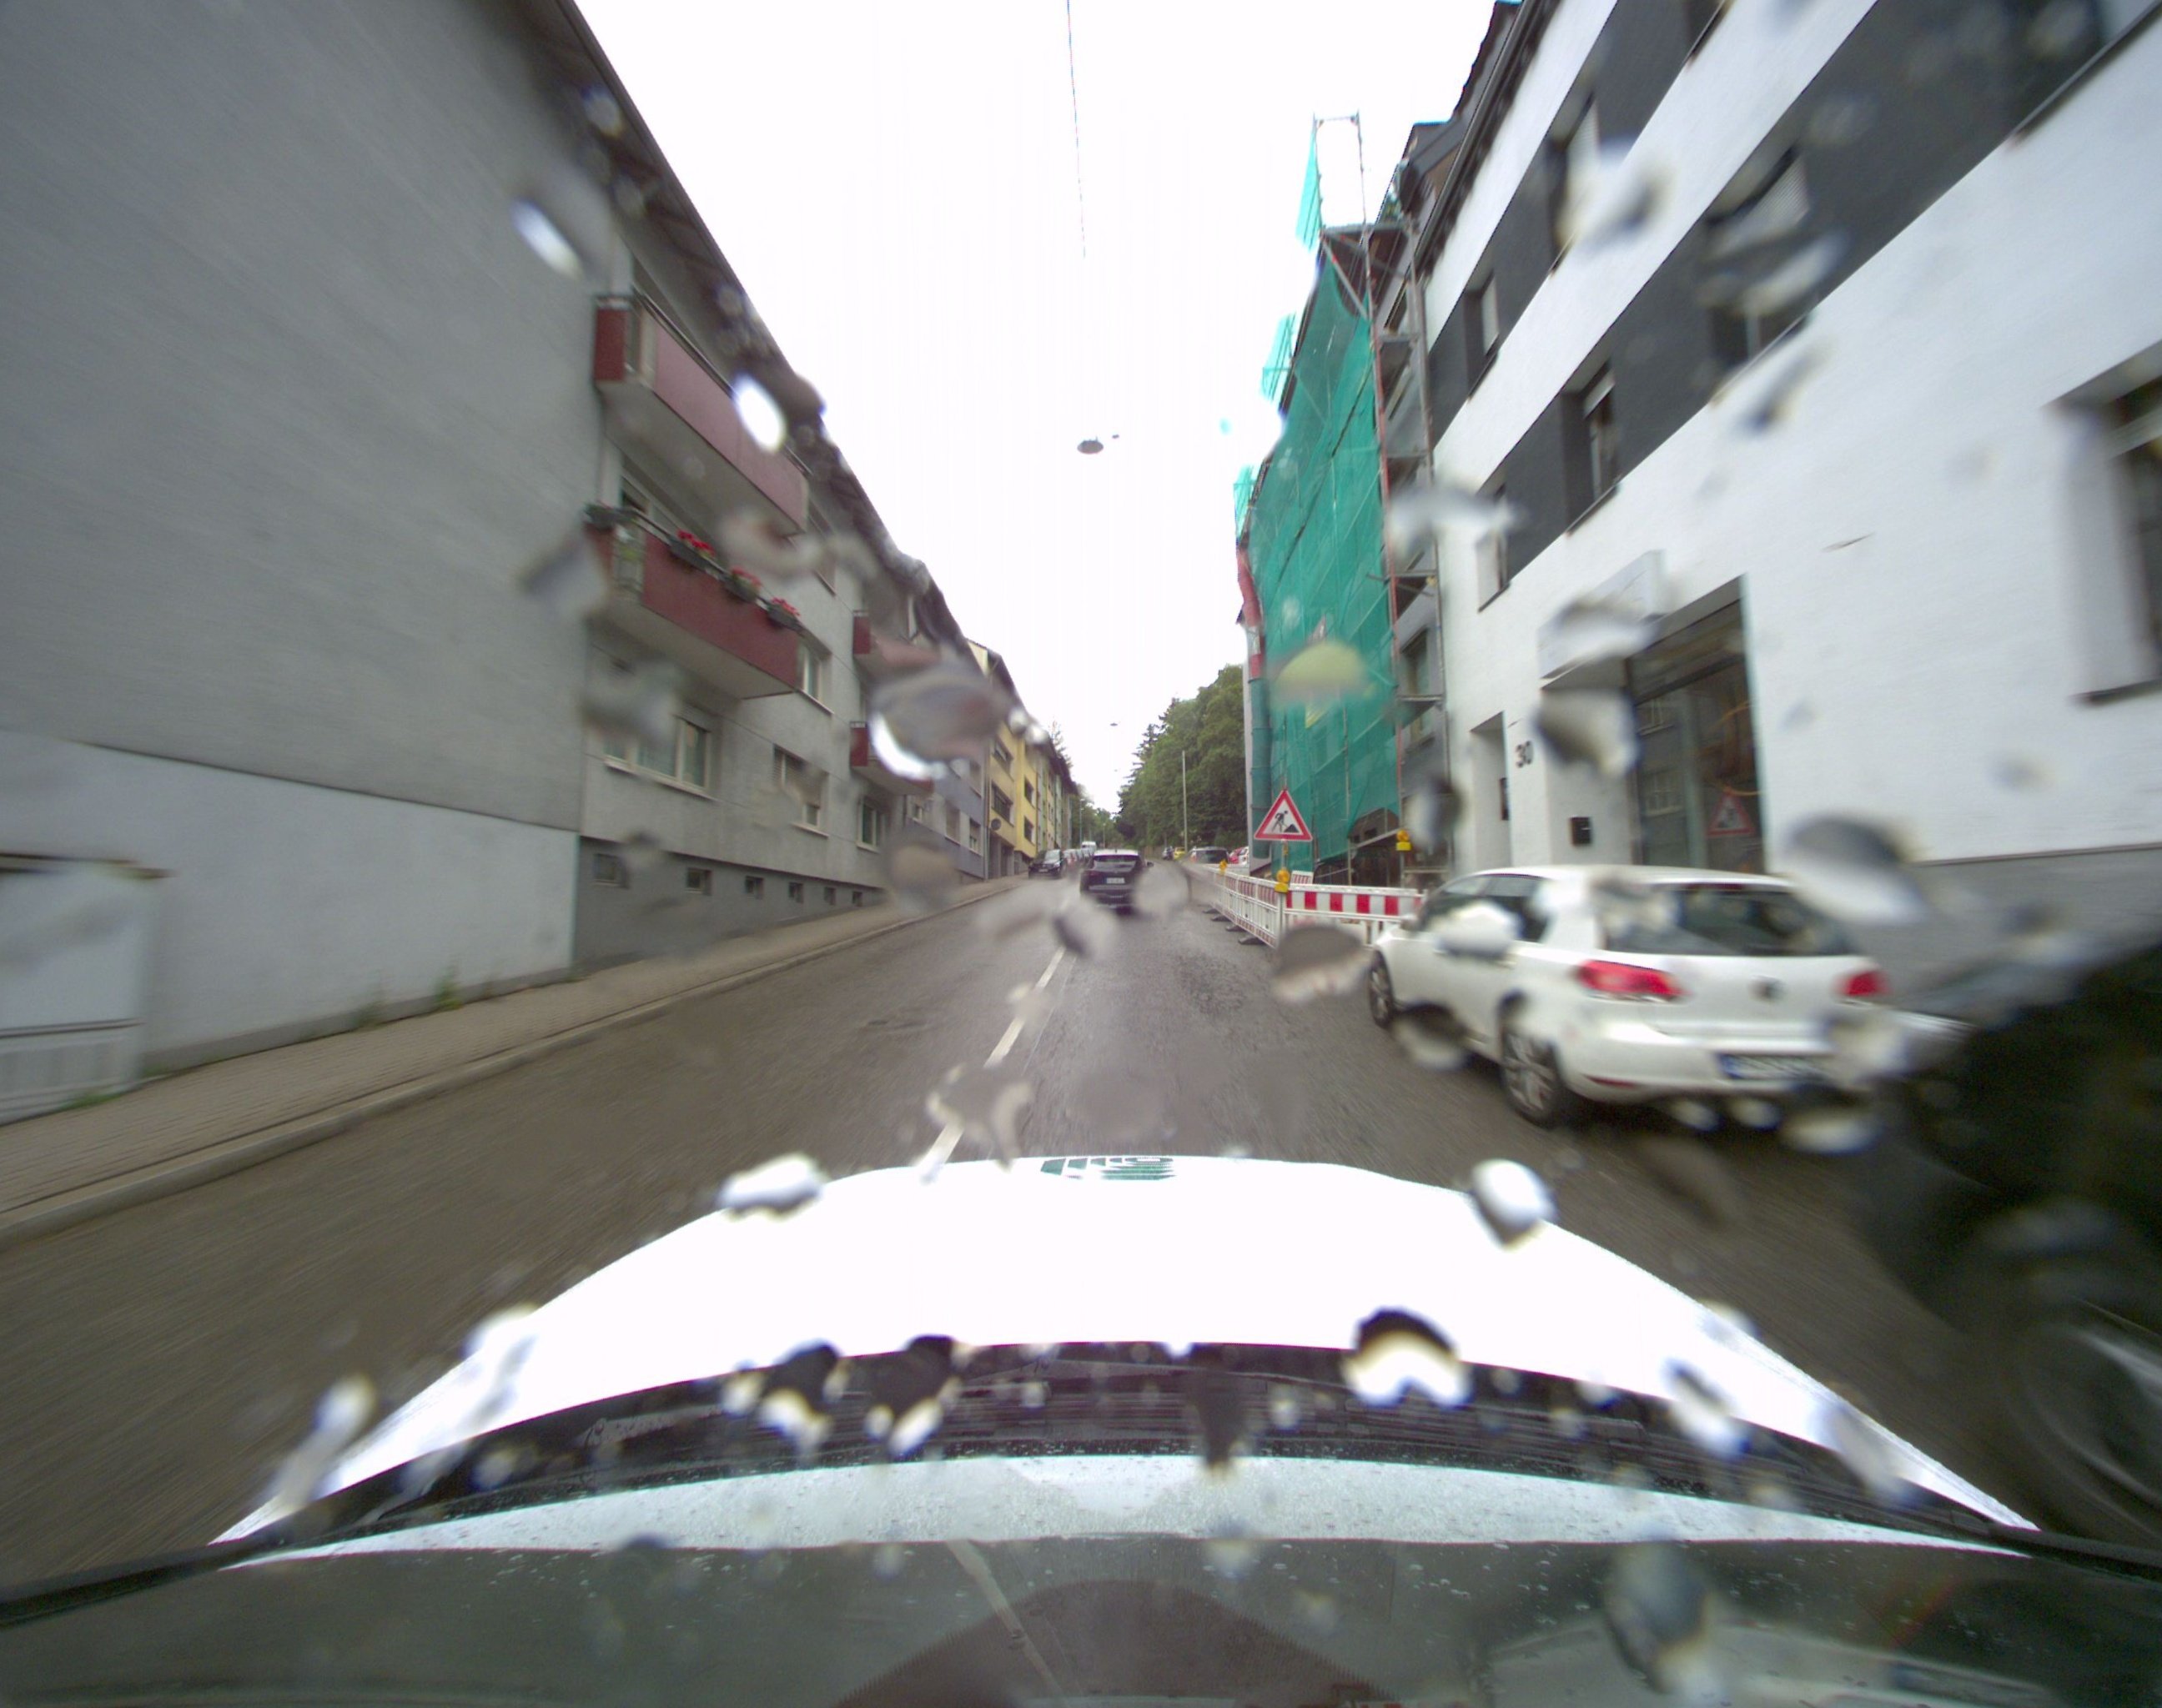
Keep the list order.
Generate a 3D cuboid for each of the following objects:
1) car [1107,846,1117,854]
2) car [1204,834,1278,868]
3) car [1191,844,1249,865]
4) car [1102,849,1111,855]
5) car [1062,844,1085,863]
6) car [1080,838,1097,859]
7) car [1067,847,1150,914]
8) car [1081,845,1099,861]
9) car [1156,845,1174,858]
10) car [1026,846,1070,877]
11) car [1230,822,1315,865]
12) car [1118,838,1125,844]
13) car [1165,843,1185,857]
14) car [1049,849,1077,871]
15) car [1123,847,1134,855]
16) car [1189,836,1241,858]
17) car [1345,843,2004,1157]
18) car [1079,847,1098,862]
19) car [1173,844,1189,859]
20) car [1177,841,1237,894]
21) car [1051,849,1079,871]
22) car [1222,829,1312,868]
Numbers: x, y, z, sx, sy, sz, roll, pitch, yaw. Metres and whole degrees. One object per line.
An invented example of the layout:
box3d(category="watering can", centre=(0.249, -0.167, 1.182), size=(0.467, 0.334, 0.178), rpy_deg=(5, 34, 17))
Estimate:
box3d(category="car", centre=(6.550, -0.899, 171.519), size=(2.067, 1.559, 4.001), rpy_deg=(0, 1, 1))
box3d(category="car", centre=(9.493, -0.178, 48.481), size=(3.951, 1.529, 1.691), rpy_deg=(-6, 0, -2))
box3d(category="car", centre=(10.804, 0.020, 63.313), size=(4.184, 1.496, 1.760), rpy_deg=(2, 0, 0))
box3d(category="car", centre=(6.145, -0.486, 197.621), size=(2.067, 1.559, 4.002), rpy_deg=(0, 1, 1))
box3d(category="car", centre=(-0.606, -0.041, 71.690), size=(1.846, 1.585, 4.307), rpy_deg=(-1, 1, 1))
box3d(category="car", centre=(1.003, -0.721, 102.681), size=(1.983, 2.474, 5.786), rpy_deg=(-1, 1, 2))
box3d(category="car", centre=(0.757, 0.627, 21.683), size=(1.985, 1.559, 4.003), rpy_deg=(1, 1, 2))
box3d(category="car", centre=(1.050, -0.141, 95.079), size=(1.983, 1.755, 4.482), rpy_deg=(-1, 1, 1))
box3d(category="car", centre=(10.791, -0.307, 104.287), size=(1.805, 1.530, 4.417), rpy_deg=(-3, 0, 0))
box3d(category="car", centre=(-1.863, 0.378, 47.466), size=(1.984, 1.650, 4.448), rpy_deg=(-1, 1, 5))
box3d(category="car", centre=(9.710, -0.514, 41.520), size=(3.813, 1.702, 1.729), rpy_deg=(-7, 0, 1))
box3d(category="car", centre=(12.216, -3.894, 247.039), size=(1.984, 1.559, 4.005), rpy_deg=(-2, -1, 5))
box3d(category="car", centre=(10.781, -0.454, 93.744), size=(1.804, 1.530, 4.419), rpy_deg=(-3, 0, 2))
box3d(category="car", centre=(-1.249, 0.417, 57.814), size=(1.722, 1.472, 3.492), rpy_deg=(-1, 1, 1))
box3d(category="car", centre=(10.313, -0.696, 175.626), size=(2.068, 1.559, 3.999), rpy_deg=(0, 1, -1))
box3d(category="car", centre=(11.696, -0.594, 71.372), size=(4.186, 1.734, 1.759), rpy_deg=(2, 0, -2))
box3d(category="car", centre=(3.602, 0.713, 6.163), size=(1.985, 1.512, 4.340), rpy_deg=(1, 0, 2))
box3d(category="car", centre=(0.828, 0.033, 88.943), size=(1.983, 1.585, 4.307), rpy_deg=(-1, 1, 1))
box3d(category="car", centre=(10.642, -0.309, 86.775), size=(1.625, 1.530, 4.006), rpy_deg=(0, 1, 5))
box3d(category="car", centre=(4.465, 0.417, 29.414), size=(1.634, 1.762, 4.002), rpy_deg=(1, 1, 1))
box3d(category="car", centre=(-1.196, 0.442, 64.545), size=(1.986, 1.585, 4.473), rpy_deg=(-1, 1, 1))
box3d(category="car", centre=(9.946, -0.299, 43.821), size=(4.326, 1.529, 1.877), rpy_deg=(-8, 0, 1))
